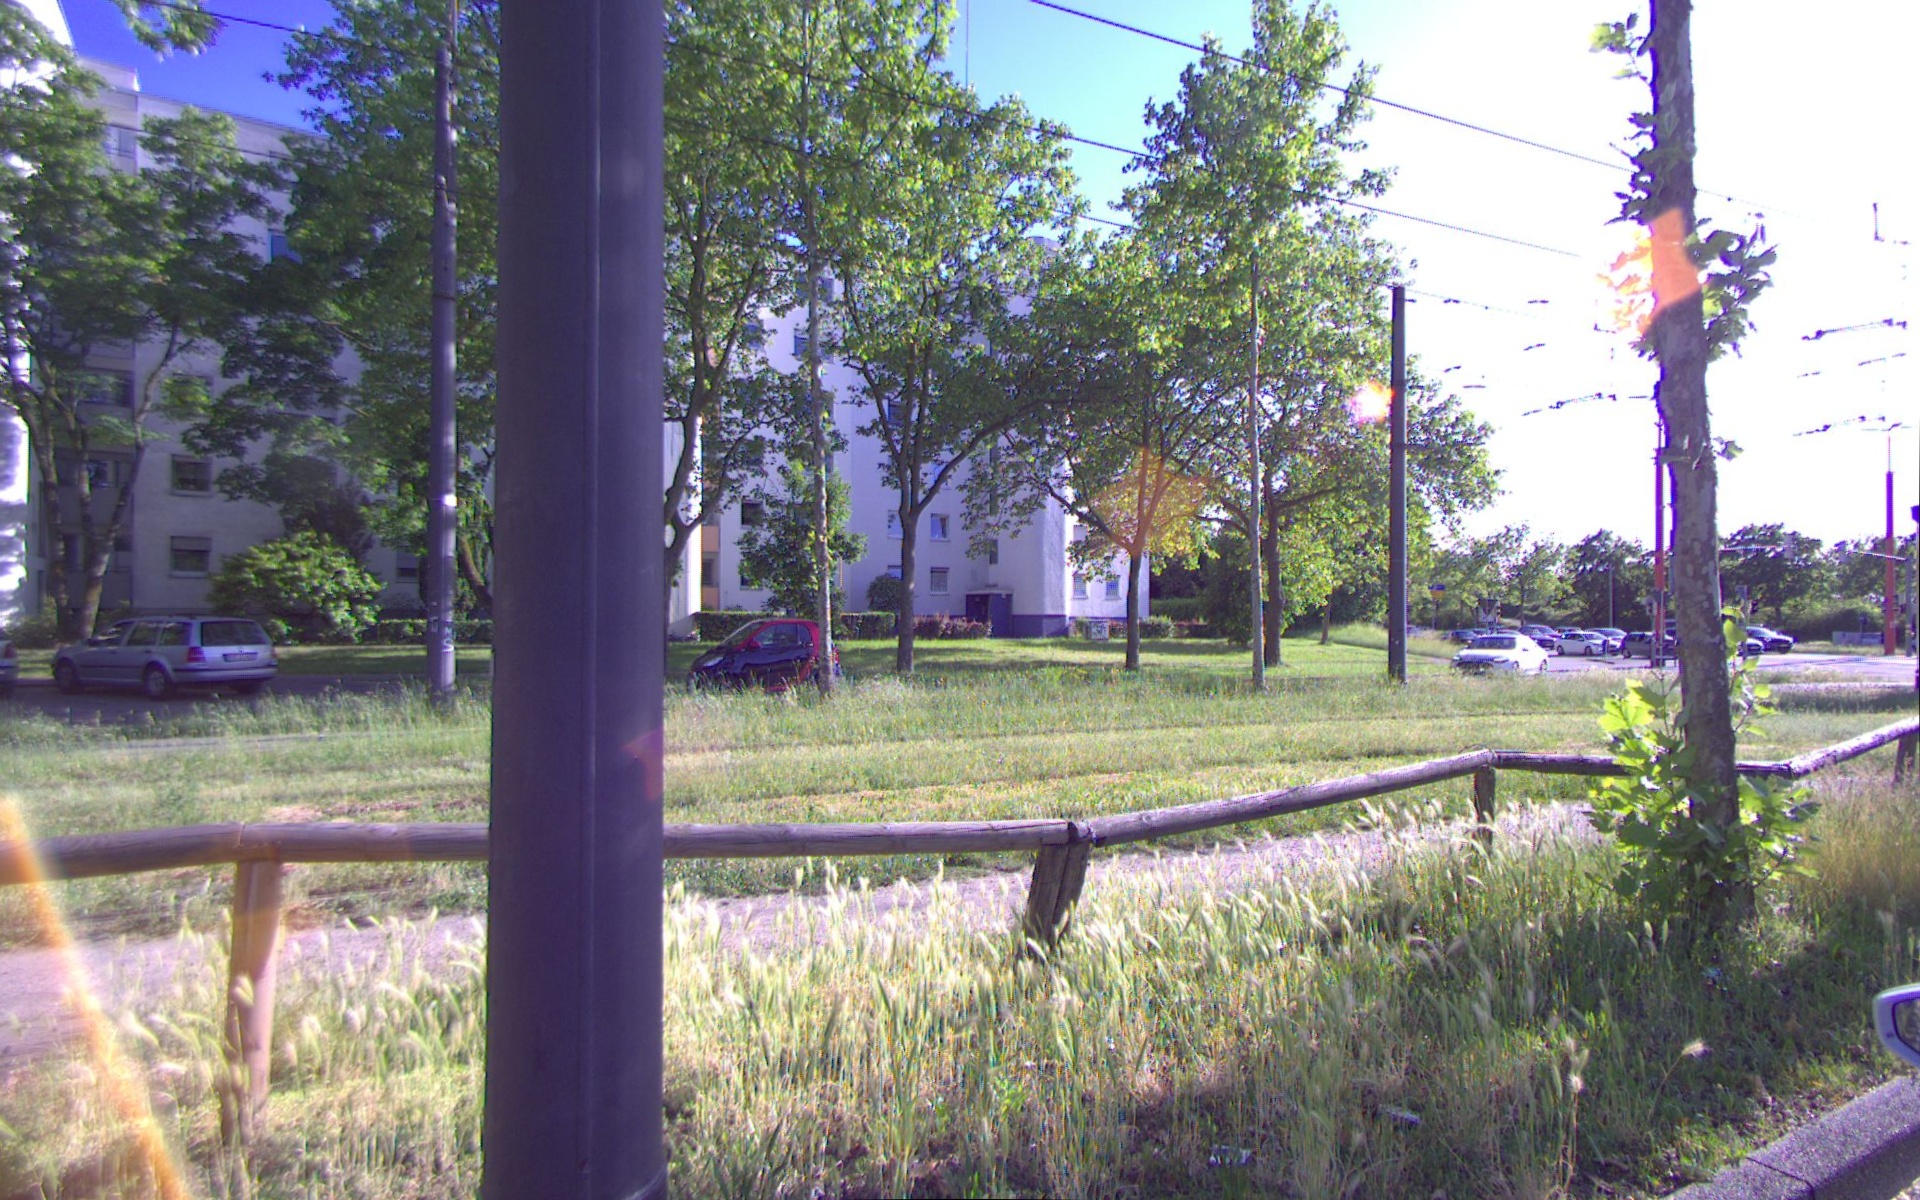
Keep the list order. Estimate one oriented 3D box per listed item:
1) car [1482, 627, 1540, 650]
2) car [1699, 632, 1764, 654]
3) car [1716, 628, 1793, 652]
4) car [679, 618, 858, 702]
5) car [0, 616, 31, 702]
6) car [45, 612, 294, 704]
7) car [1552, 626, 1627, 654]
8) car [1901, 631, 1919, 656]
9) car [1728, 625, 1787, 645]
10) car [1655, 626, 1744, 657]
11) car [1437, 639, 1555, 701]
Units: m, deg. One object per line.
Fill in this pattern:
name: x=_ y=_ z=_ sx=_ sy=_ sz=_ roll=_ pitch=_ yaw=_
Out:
car: x=38.576 y=2.681 z=70.437 sx=1.699 sy=1.533 sz=3.998 roll=1 pitch=-1 yaw=-4
car: x=45.782 y=2.529 z=59.642 sx=1.499 sy=1.214 sz=3.171 roll=1 pitch=-1 yaw=2
car: x=48.775 y=2.419 z=61.735 sx=1.664 sy=1.347 sz=4.001 roll=1 pitch=-1 yaw=2
car: x=-3.544 y=1.063 z=18.525 sx=2.816 sy=1.409 sz=1.790 roll=1 pitch=-1 yaw=-30
car: x=-17.944 y=0.973 z=17.111 sx=3.547 sy=1.439 sz=1.576 roll=1 pitch=0 yaw=18
car: x=-14.531 y=1.006 z=18.496 sx=3.898 sy=1.462 sz=1.710 roll=1 pitch=0 yaw=18
car: x=39.026 y=2.461 z=62.409 sx=1.833 sy=1.633 sz=4.185 roll=1 pitch=-1 yaw=-4
car: x=59.280 y=2.672 z=60.687 sx=1.437 sy=1.476 sz=3.402 roll=1 pitch=-1 yaw=-6
car: x=63.478 y=2.748 z=80.024 sx=1.570 sy=1.493 sz=3.746 roll=1 pitch=-1 yaw=-3
car: x=42.474 y=2.334 z=57.801 sx=1.962 sy=1.666 sz=3.997 roll=1 pitch=-1 yaw=-5
car: x=17.286 y=2.171 z=32.293 sx=4.812 sy=1.754 sz=1.974 roll=2 pitch=-1 yaw=-44
